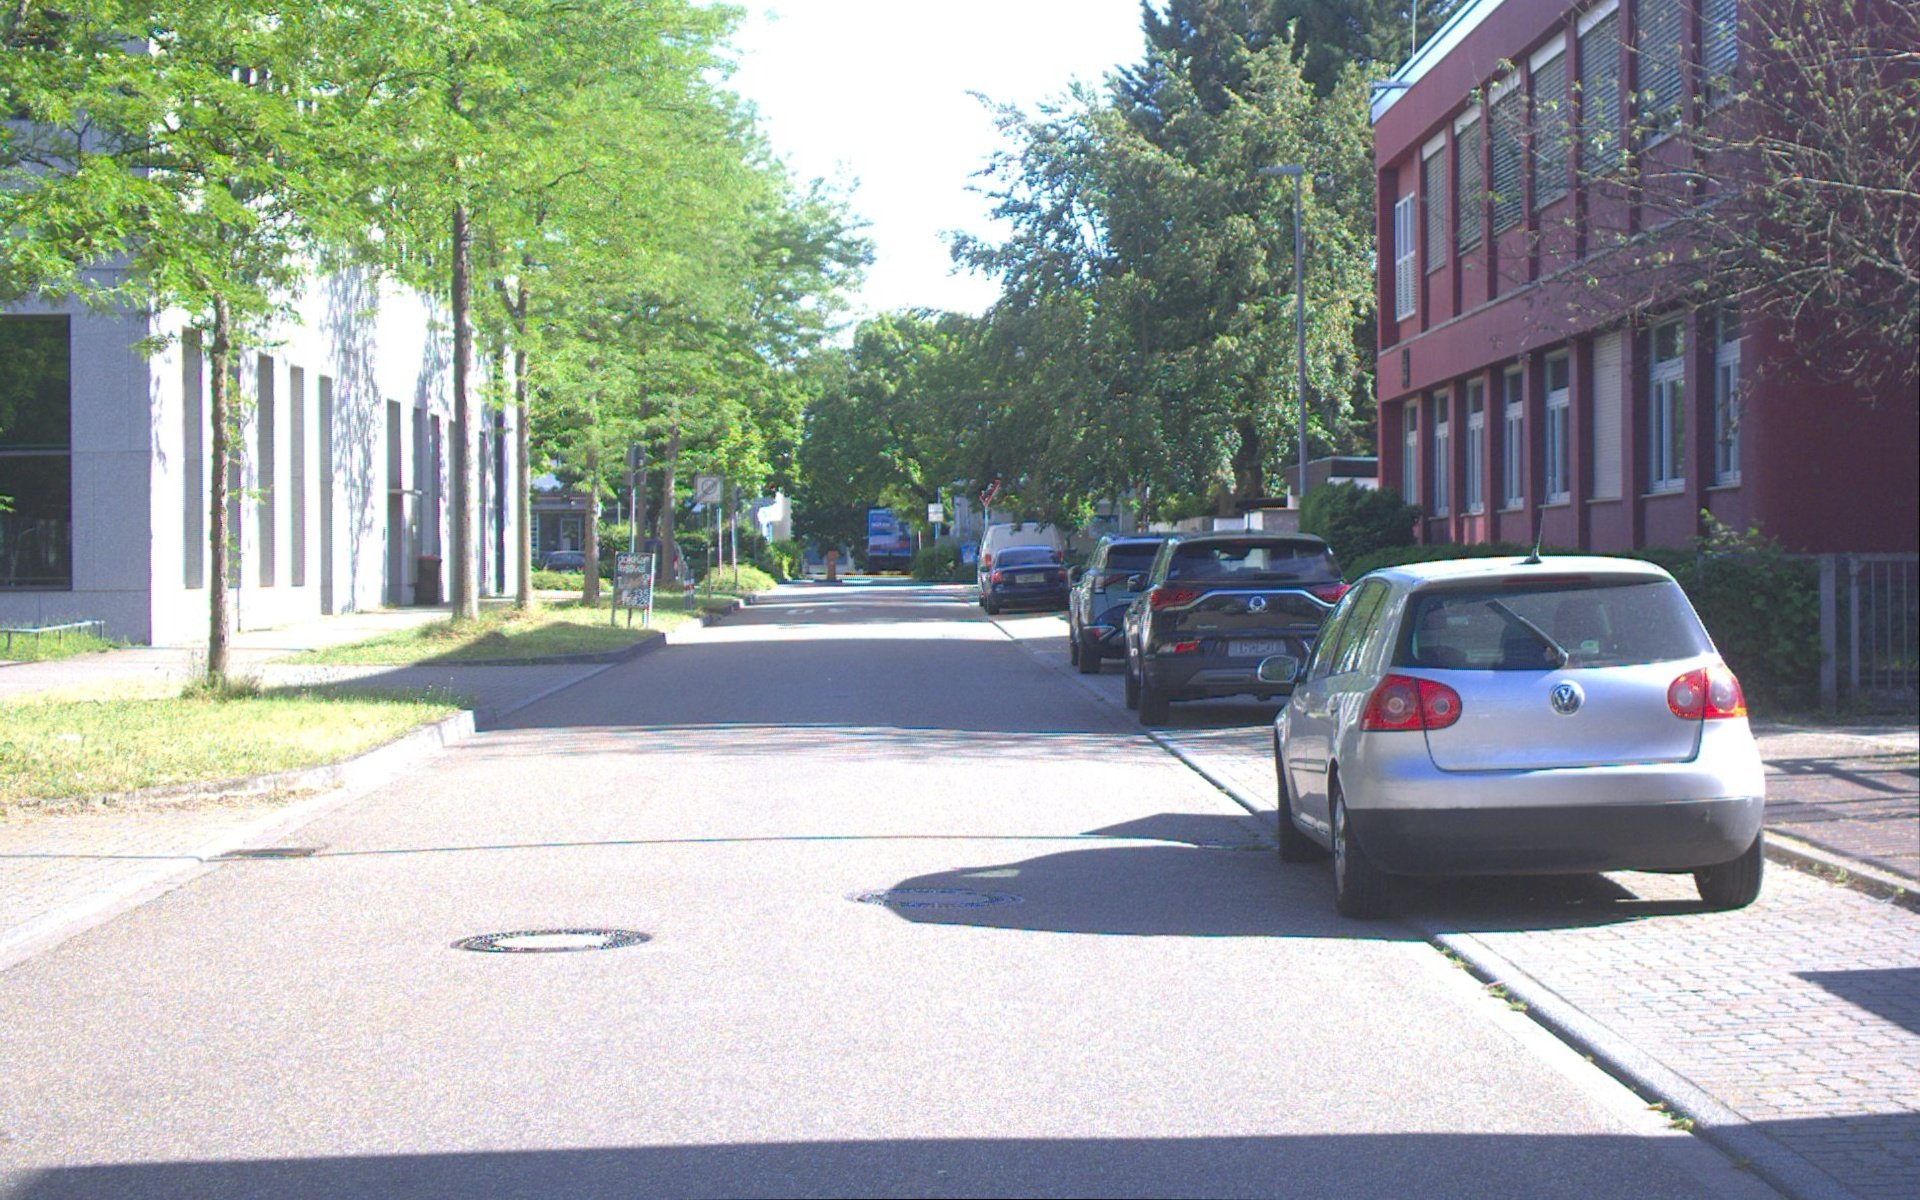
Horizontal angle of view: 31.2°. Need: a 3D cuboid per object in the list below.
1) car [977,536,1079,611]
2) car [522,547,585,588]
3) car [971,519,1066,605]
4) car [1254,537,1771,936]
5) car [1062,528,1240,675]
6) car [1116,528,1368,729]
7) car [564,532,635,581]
[{"bbox_3d":[1.427,-0.587,73.683,1.993,1.437,4.000,-3,1,0],"label":"car"},{"bbox_3d":[-13.636,-1.093,115.410,1.905,1.337,3.794,0,1,-4],"label":"car"},{"bbox_3d":[1.326,-0.897,79.473,1.993,1.828,4.000,-3,1,0],"label":"car"},{"bbox_3d":[2.325,0.496,15.382,1.660,1.556,3.935,0,1,0],"label":"car"},{"bbox_3d":[2.224,-0.025,41.012,1.855,1.642,4.000,-1,1,0],"label":"car"},{"bbox_3d":[2.377,0.190,29.890,1.838,1.628,4.201,0,1,0],"label":"car"},{"bbox_3d":[-10.936,-1.319,104.522,1.993,1.453,3.793,0,1,-4],"label":"car"}]
